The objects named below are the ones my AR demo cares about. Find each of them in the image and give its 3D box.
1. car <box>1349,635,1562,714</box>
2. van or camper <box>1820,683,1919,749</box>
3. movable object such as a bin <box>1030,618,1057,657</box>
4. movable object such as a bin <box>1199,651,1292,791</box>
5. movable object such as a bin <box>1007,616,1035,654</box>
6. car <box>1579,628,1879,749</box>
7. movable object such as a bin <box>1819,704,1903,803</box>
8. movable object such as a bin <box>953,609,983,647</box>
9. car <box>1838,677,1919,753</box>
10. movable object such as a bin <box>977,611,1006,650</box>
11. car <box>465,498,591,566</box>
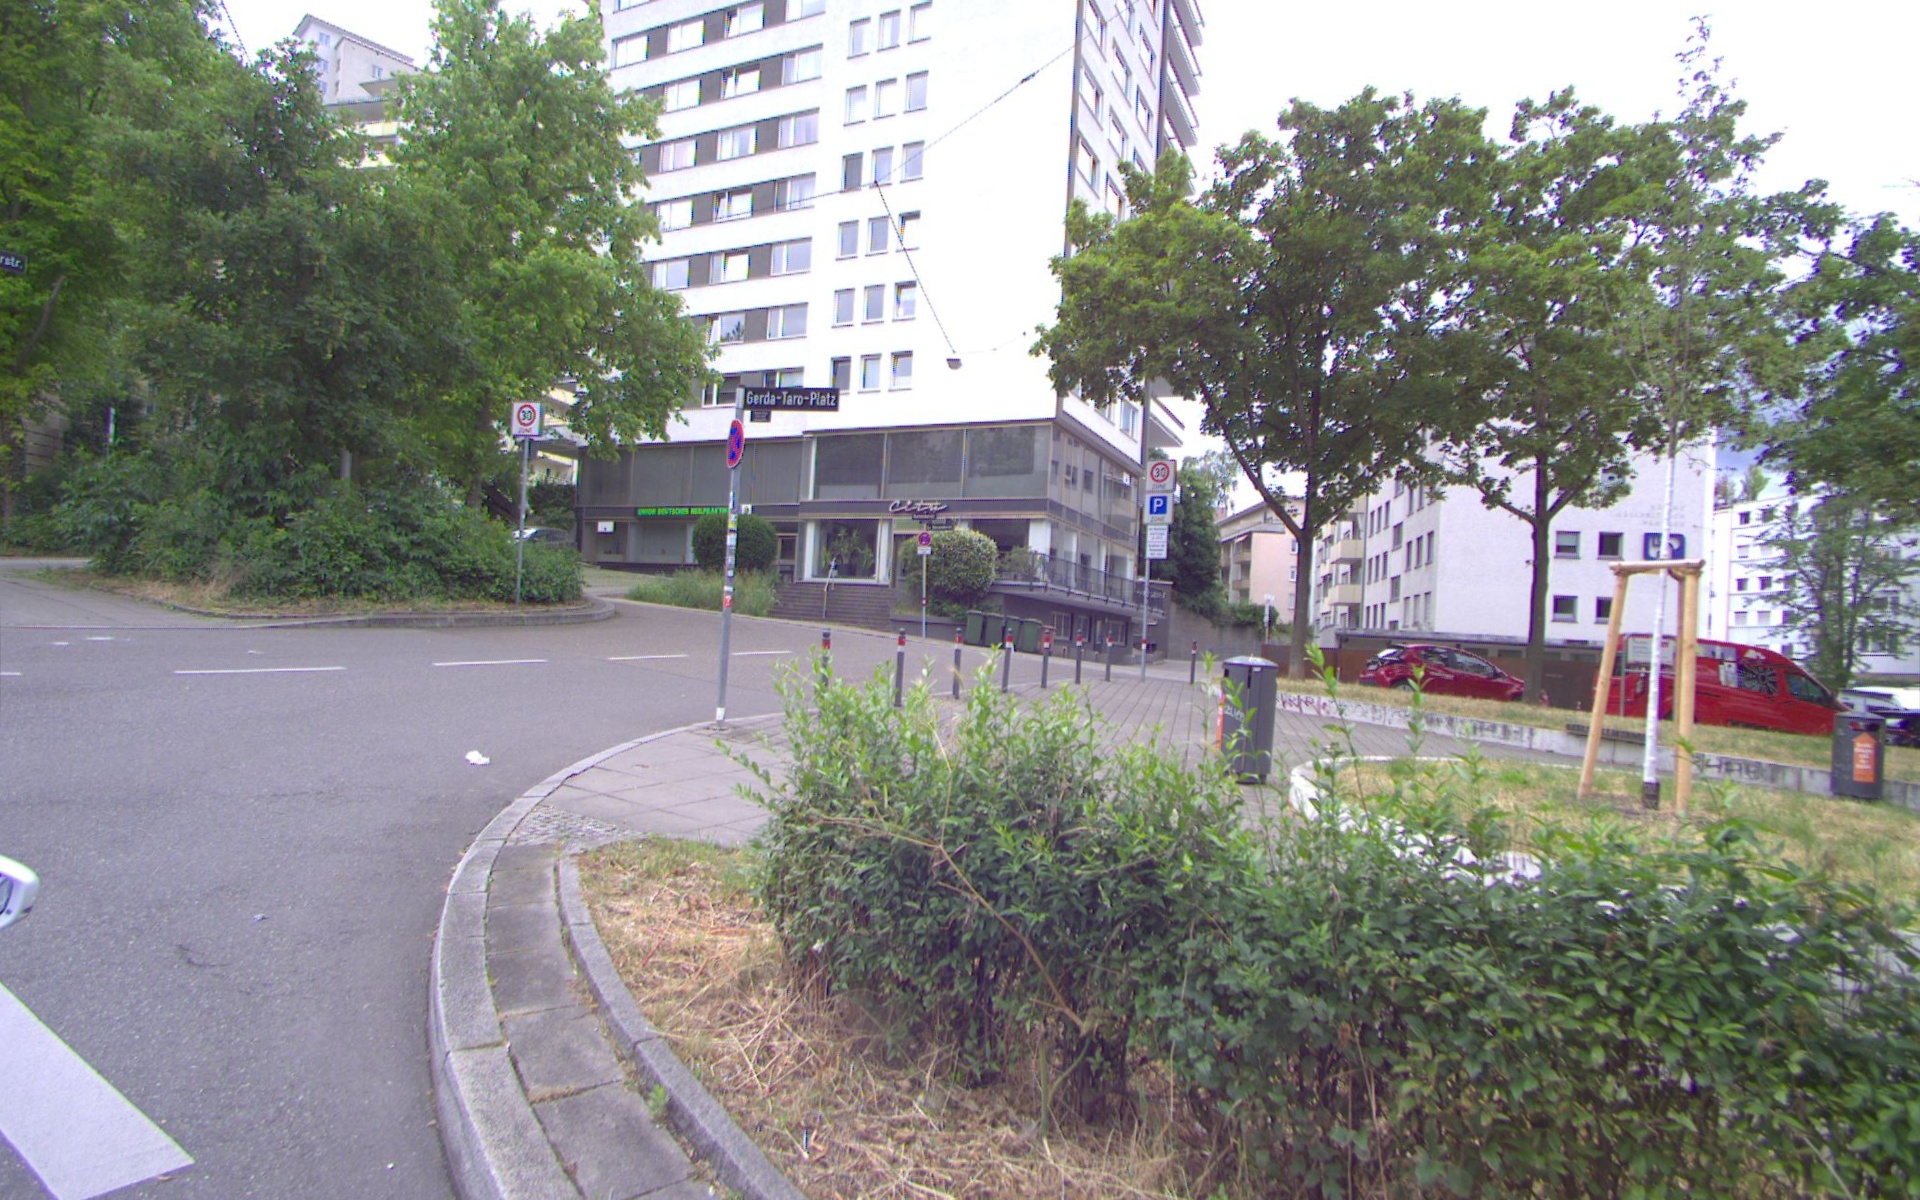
[{"bbox_3d":[10.958,1.656,22.435,3.848,1.293,1.623,6,-4,4],"label":"car"},{"bbox_3d":[35.861,4.475,38.549,2.257,2.254,5.452,5,-4,16],"label":"van or camper"},{"bbox_3d":[2.625,1.170,31.603,0.668,1.117,0.825,6,0,8],"label":"movable object such as a bin"},{"bbox_3d":[2.468,1.025,8.682,0.556,1.108,0.494,7,1,31],"label":"movable object such as a bin"},{"bbox_3d":[1.927,1.090,31.772,0.700,1.117,0.825,6,0,8],"label":"movable object such as a bin"},{"bbox_3d":[16.856,1.940,22.258,4.888,2.050,2.033,6,-4,4],"label":"car"},{"bbox_3d":[10.865,1.844,12.146,0.599,1.094,0.670,4,-4,32],"label":"movable object such as a bin"},{"bbox_3d":[0.260,0.869,31.337,0.700,1.117,0.825,6,0,8],"label":"movable object such as a bin"},{"bbox_3d":[21.999,2.666,21.903,4.070,1.524,1.757,6,-4,4],"label":"car"},{"bbox_3d":[0.974,0.954,31.341,0.700,1.117,0.825,6,0,8],"label":"movable object such as a bin"},{"bbox_3d":[-16.754,-2.599,39.225,1.964,2.038,4.140,6,0,24],"label":"car"}]
